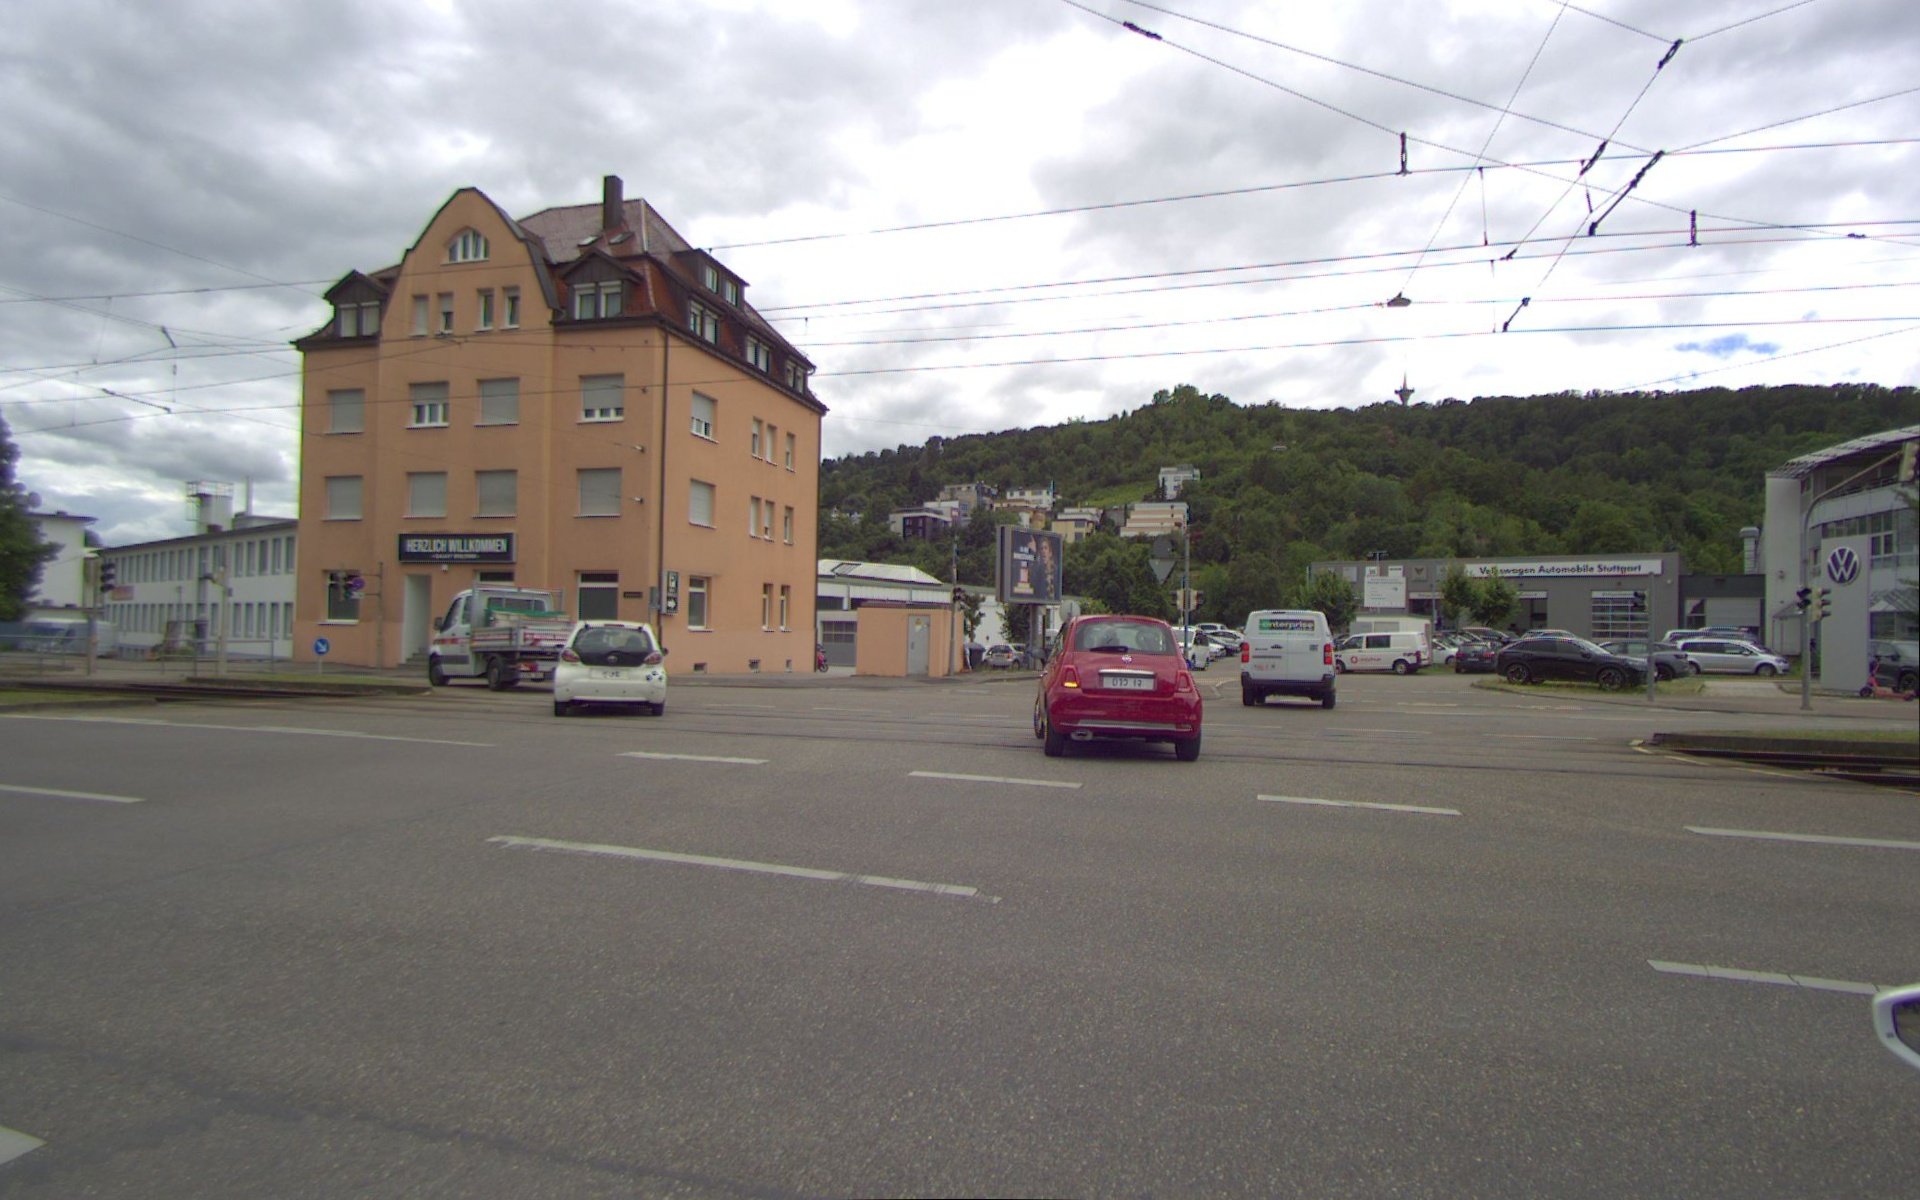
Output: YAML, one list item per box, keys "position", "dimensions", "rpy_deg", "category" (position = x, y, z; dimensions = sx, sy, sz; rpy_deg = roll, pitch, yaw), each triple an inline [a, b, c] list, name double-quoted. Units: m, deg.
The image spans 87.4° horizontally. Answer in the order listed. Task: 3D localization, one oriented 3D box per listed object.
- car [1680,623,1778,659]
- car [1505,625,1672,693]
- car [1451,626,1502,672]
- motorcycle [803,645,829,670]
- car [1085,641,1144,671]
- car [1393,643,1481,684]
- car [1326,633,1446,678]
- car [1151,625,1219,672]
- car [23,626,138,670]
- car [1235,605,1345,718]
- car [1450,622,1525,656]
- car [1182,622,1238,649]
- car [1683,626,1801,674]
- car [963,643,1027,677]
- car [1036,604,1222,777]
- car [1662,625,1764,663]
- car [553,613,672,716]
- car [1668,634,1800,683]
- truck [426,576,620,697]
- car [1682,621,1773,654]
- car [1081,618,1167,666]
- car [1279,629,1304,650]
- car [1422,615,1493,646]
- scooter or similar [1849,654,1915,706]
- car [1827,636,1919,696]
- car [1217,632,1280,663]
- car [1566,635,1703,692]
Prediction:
- position: [46.105, 2.438, 60.354]
  dimensions: [4.434, 1.751, 1.995]
  rpy_deg: [4, -1, 34]
  category: "car"
- position: [19.291, 1.750, 30.949]
  dimensions: [1.985, 1.662, 3.950]
  rpy_deg: [-1, 3, -42]
  category: "car"
- position: [25.122, 2.416, 48.769]
  dimensions: [1.965, 2.039, 5.010]
  rpy_deg: [-1, -4, 30]
  category: "car"
- position: [-6.688, 2.673, 46.603]
  dimensions: [0.523, 0.997, 1.695]
  rpy_deg: [5, -1, -30]
  category: "motorcycle"
- position: [8.120, 2.929, 52.810]
  dimensions: [2.757, 1.355, 1.536]
  rpy_deg: [4, -1, 20]
  category: "car"
- position: [25.710, 3.417, 54.152]
  dimensions: [3.936, 1.817, 1.847]
  rpy_deg: [4, -1, 37]
  category: "car"
- position: [20.372, 2.634, 48.152]
  dimensions: [4.941, 2.039, 1.992]
  rpy_deg: [-2, -4, 39]
  category: "car"
- position: [10.426, 2.233, 46.164]
  dimensions: [2.043, 1.877, 4.906]
  rpy_deg: [4, -1, 24]
  category: "car"
- position: [-46.589, 2.499, 53.416]
  dimensions: [1.719, 2.129, 6.286]
  rpy_deg: [1, -1, -12]
  category: "car"
- position: [7.217, 1.214, 22.319]
  dimensions: [1.965, 2.068, 4.833]
  rpy_deg: [3, 1, 16]
  category: "car"
- position: [33.679, 2.511, 64.181]
  dimensions: [3.936, 1.817, 1.847]
  rpy_deg: [4, -1, 37]
  category: "car"
- position: [22.515, 3.233, 90.550]
  dimensions: [4.427, 2.023, 1.998]
  rpy_deg: [4, -1, 28]
  category: "car"
- position: [39.139, 2.488, 50.428]
  dimensions: [4.434, 2.023, 1.995]
  rpy_deg: [4, -1, 34]
  category: "car"
- position: [2.176, 3.693, 61.716]
  dimensions: [1.964, 1.863, 4.504]
  rpy_deg: [4, -1, 29]
  category: "car"
- position: [1.792, 0.881, 11.777]
  dimensions: [1.669, 1.545, 4.001]
  rpy_deg: [4, 0, 4]
  category: "car"
- position: [42.866, 2.492, 57.323]
  dimensions: [4.434, 1.751, 1.995]
  rpy_deg: [4, -1, 34]
  category: "car"
- position: [-5.532, 1.073, 16.188]
  dimensions: [1.573, 1.438, 3.363]
  rpy_deg: [3, -5, -17]
  category: "car"
- position: [34.468, 2.613, 44.913]
  dimensions: [4.434, 1.751, 1.995]
  rpy_deg: [4, -1, 34]
  category: "car"
- position: [-10.201, 0.850, 23.192]
  dimensions: [2.305, 2.453, 5.583]
  rpy_deg: [5, -4, -43]
  category: "truck"
- position: [49.191, 2.391, 64.500]
  dimensions: [4.434, 1.751, 1.995]
  rpy_deg: [4, -1, 34]
  category: "car"
- position: [9.082, 2.322, 55.866]
  dimensions: [4.420, 2.272, 2.001]
  rpy_deg: [5, -1, 5]
  category: "car"
- position: [34.958, 4.187, 105.879]
  dimensions: [1.962, 2.023, 4.508]
  rpy_deg: [4, -1, 25]
  category: "car"
- position: [33.870, 2.070, 68.399]
  dimensions: [3.936, 1.817, 1.847]
  rpy_deg: [4, -1, 37]
  category: "car"
- position: [25.620, 2.214, 27.917]
  dimensions: [1.182, 1.305, 0.575]
  rpy_deg: [4, -1, 30]
  category: "scooter or similar"
- position: [28.187, 1.934, 29.679]
  dimensions: [1.959, 1.661, 4.003]
  rpy_deg: [2, -1, 7]
  category: "car"
- position: [22.452, 3.681, 78.083]
  dimensions: [4.423, 2.023, 2.000]
  rpy_deg: [4, -1, 21]
  category: "car"
- position: [25.256, 2.342, 37.782]
  dimensions: [3.925, 1.728, 1.999]
  rpy_deg: [4, -1, 25]
  category: "car"
